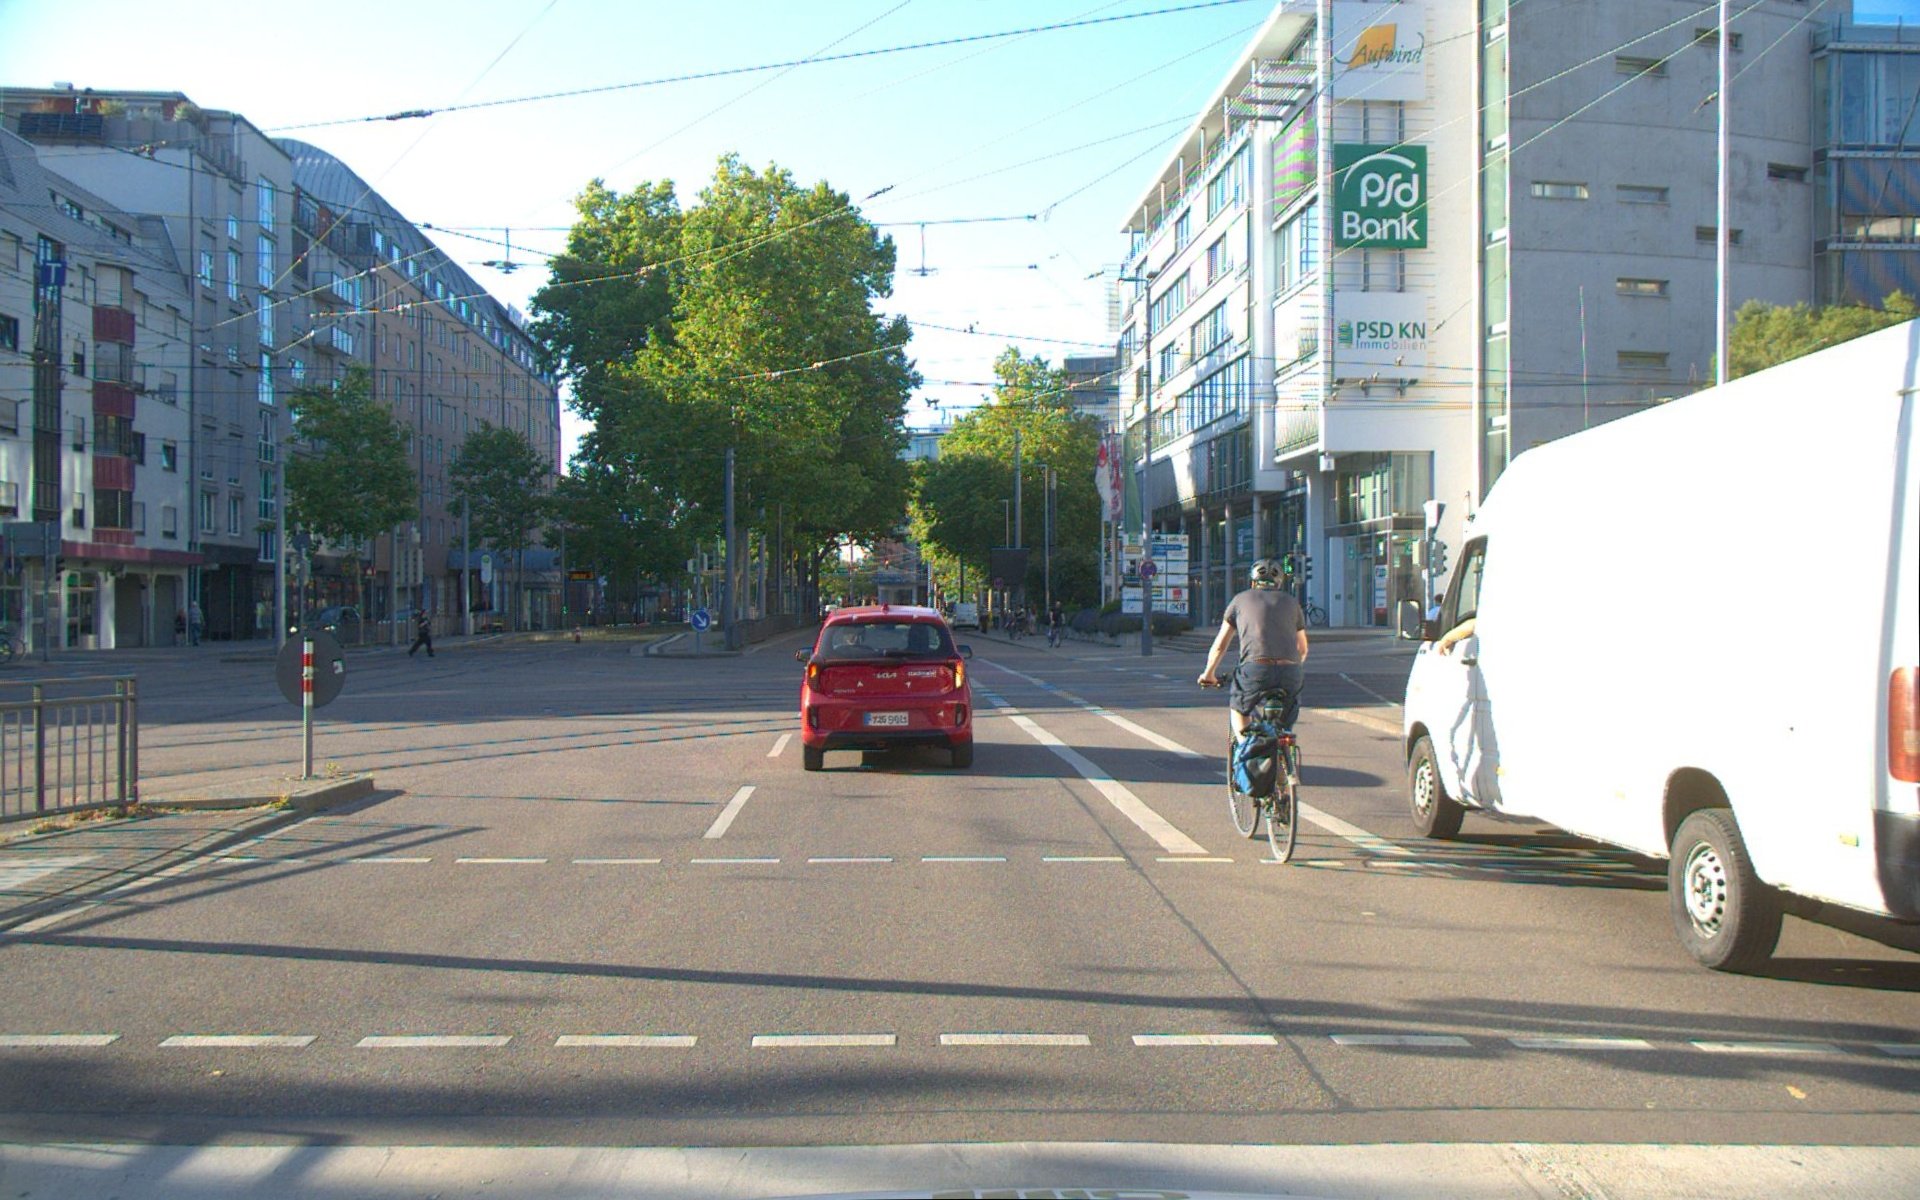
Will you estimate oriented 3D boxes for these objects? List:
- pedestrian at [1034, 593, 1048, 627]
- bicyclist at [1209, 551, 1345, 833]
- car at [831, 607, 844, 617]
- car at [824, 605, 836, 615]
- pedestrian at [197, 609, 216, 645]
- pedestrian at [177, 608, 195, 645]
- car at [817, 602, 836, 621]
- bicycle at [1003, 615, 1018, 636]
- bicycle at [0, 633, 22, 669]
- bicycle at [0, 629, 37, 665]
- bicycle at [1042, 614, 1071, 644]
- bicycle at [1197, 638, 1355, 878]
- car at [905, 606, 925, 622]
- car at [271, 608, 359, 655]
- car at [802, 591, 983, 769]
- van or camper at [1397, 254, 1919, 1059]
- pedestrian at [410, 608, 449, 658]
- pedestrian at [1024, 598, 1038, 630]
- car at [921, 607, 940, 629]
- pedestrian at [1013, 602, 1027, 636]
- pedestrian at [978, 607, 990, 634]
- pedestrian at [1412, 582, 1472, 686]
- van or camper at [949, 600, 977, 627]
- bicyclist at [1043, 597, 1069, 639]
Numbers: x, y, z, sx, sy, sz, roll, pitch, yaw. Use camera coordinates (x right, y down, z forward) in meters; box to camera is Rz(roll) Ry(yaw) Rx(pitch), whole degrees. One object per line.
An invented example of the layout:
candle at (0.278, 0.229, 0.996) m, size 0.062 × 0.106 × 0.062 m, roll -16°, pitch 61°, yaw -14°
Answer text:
pedestrian at (4.478, 0.572, 91.755) m, size 0.530 × 1.827 × 0.906 m, roll -3°, pitch 0°, yaw -6°
bicyclist at (1.927, 0.536, 10.171) m, size 0.636 × 1.631 × 1.089 m, roll -1°, pitch 0°, yaw 1°
car at (-18.533, 1.845, 250.618) m, size 1.744 × 1.561 × 3.405 m, roll 0°, pitch 0°, yaw -8°
car at (-20.195, 1.533, 257.115) m, size 1.744 × 1.561 × 3.405 m, roll 0°, pitch 0°, yaw -8°
pedestrian at (-31.479, 1.127, 69.091) m, size 0.524 × 1.520 × 0.587 m, roll 0°, pitch 0°, yaw -7°
pedestrian at (-32.235, 1.112, 68.891) m, size 0.524 × 1.520 × 0.587 m, roll 0°, pitch 0°, yaw -7°
car at (-14.888, 1.277, 184.195) m, size 1.955 × 2.049 × 3.994 m, roll 0°, pitch 0°, yaw -6°
bicycle at (2.530, 1.260, 83.032) m, size 0.510 × 0.991 × 2.200 m, roll -4°, pitch 0°, yaw -3°
bicycle at (-27.689, 1.449, 46.904) m, size 1.807 × 1.002 × 0.552 m, roll 0°, pitch 0°, yaw -6°
bicycle at (-27.610, 1.352, 47.519) m, size 1.807 × 1.002 × 0.552 m, roll 0°, pitch 0°, yaw -6°
bicycle at (3.821, 1.133, 65.561) m, size 0.684 × 1.117 × 1.746 m, roll -4°, pitch 0°, yaw -11°
bicycle at (1.917, 0.911, 10.275) m, size 0.636 × 1.303 × 1.966 m, roll -1°, pitch 0°, yaw 1°
car at (-4.630, 1.420, 169.722) m, size 1.744 × 1.561 × 3.506 m, roll 0°, pitch 0°, yaw -8°
car at (-24.638, 1.176, 63.311) m, size 1.916 × 1.702 × 4.257 m, roll 0°, pitch 0°, yaw -4°
car at (-0.683, 0.710, 16.279) m, size 1.581 × 1.561 × 3.409 m, roll 0°, pitch 0°, yaw -3°
van or camper at (4.178, 0.202, 8.661) m, size 1.929 × 2.764 × 6.302 m, roll 1°, pitch 0°, yaw -2°
pedestrian at (-16.935, 1.033, 52.792) m, size 1.025 × 1.571 × 0.694 m, roll -1°, pitch 0°, yaw -4°
pedestrian at (3.909, 0.757, 90.902) m, size 0.553 × 1.732 × 0.906 m, roll -3°, pitch 0°, yaw -6°
car at (-2.498, 1.518, 138.671) m, size 1.602 × 1.831 × 3.329 m, roll -1°, pitch 0°, yaw -1°
pedestrian at (3.027, 0.964, 82.982) m, size 0.634 × 1.710 × 0.651 m, roll 0°, pitch 0°, yaw -4°
pedestrian at (1.450, 1.233, 100.808) m, size 0.629 × 1.607 × 0.723 m, roll -4°, pitch 0°, yaw 0°
pedestrian at (8.826, 0.614, 30.334) m, size 0.761 × 1.855 × 1.216 m, roll -1°, pitch 0°, yaw 1°
van or camper at (0.248, 1.012, 126.604) m, size 1.953 × 2.024 × 4.742 m, roll 0°, pitch 0°, yaw -2°
bicyclist at (3.793, 0.705, 65.529) m, size 0.709 × 1.631 × 1.086 m, roll -3°, pitch 0°, yaw -11°
